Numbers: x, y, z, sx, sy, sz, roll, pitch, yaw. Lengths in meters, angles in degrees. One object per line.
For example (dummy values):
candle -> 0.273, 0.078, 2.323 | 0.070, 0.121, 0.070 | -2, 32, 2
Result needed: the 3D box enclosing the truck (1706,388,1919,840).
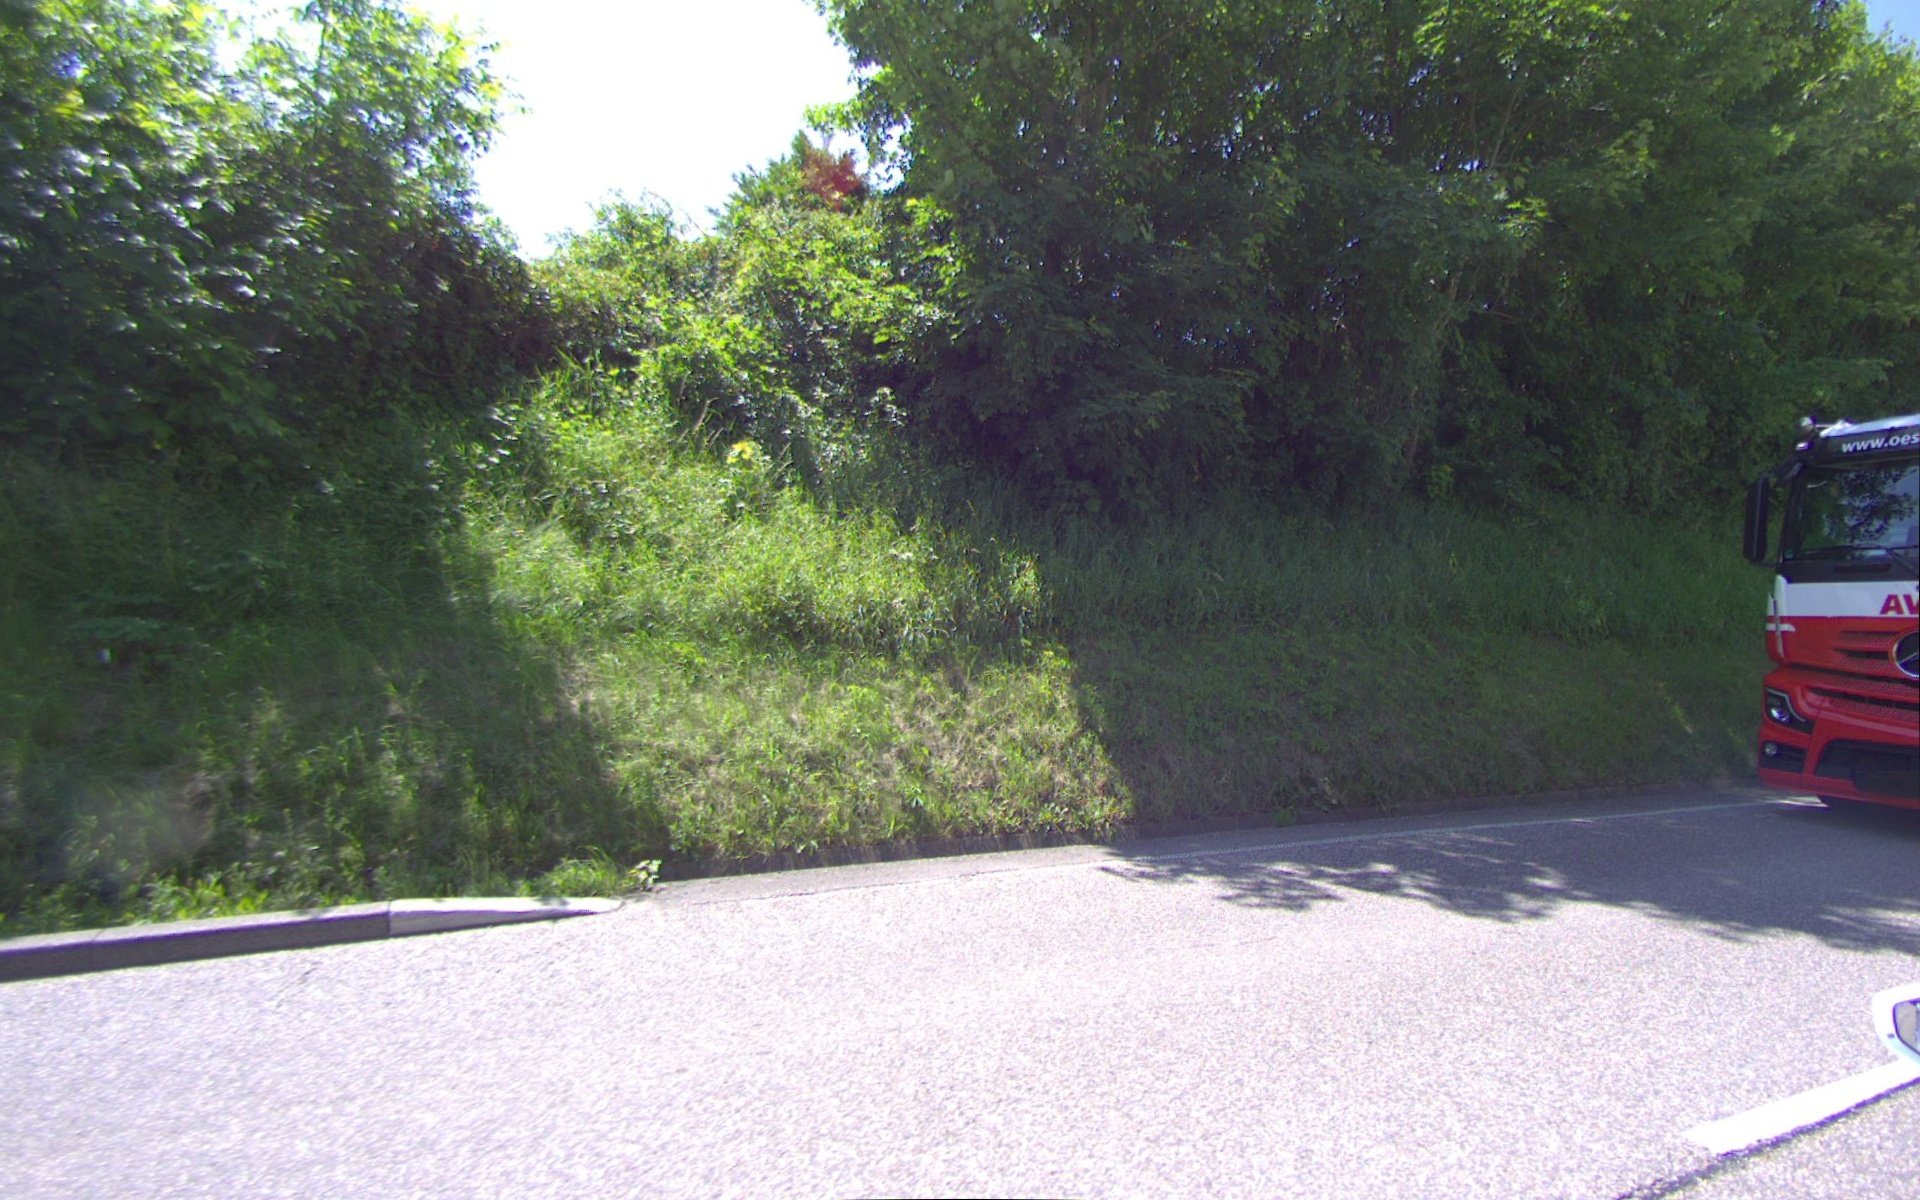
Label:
truck -> 10.029, 0.202, 8.517 | 6.962, 3.212, 2.622 | 2, -1, -21
